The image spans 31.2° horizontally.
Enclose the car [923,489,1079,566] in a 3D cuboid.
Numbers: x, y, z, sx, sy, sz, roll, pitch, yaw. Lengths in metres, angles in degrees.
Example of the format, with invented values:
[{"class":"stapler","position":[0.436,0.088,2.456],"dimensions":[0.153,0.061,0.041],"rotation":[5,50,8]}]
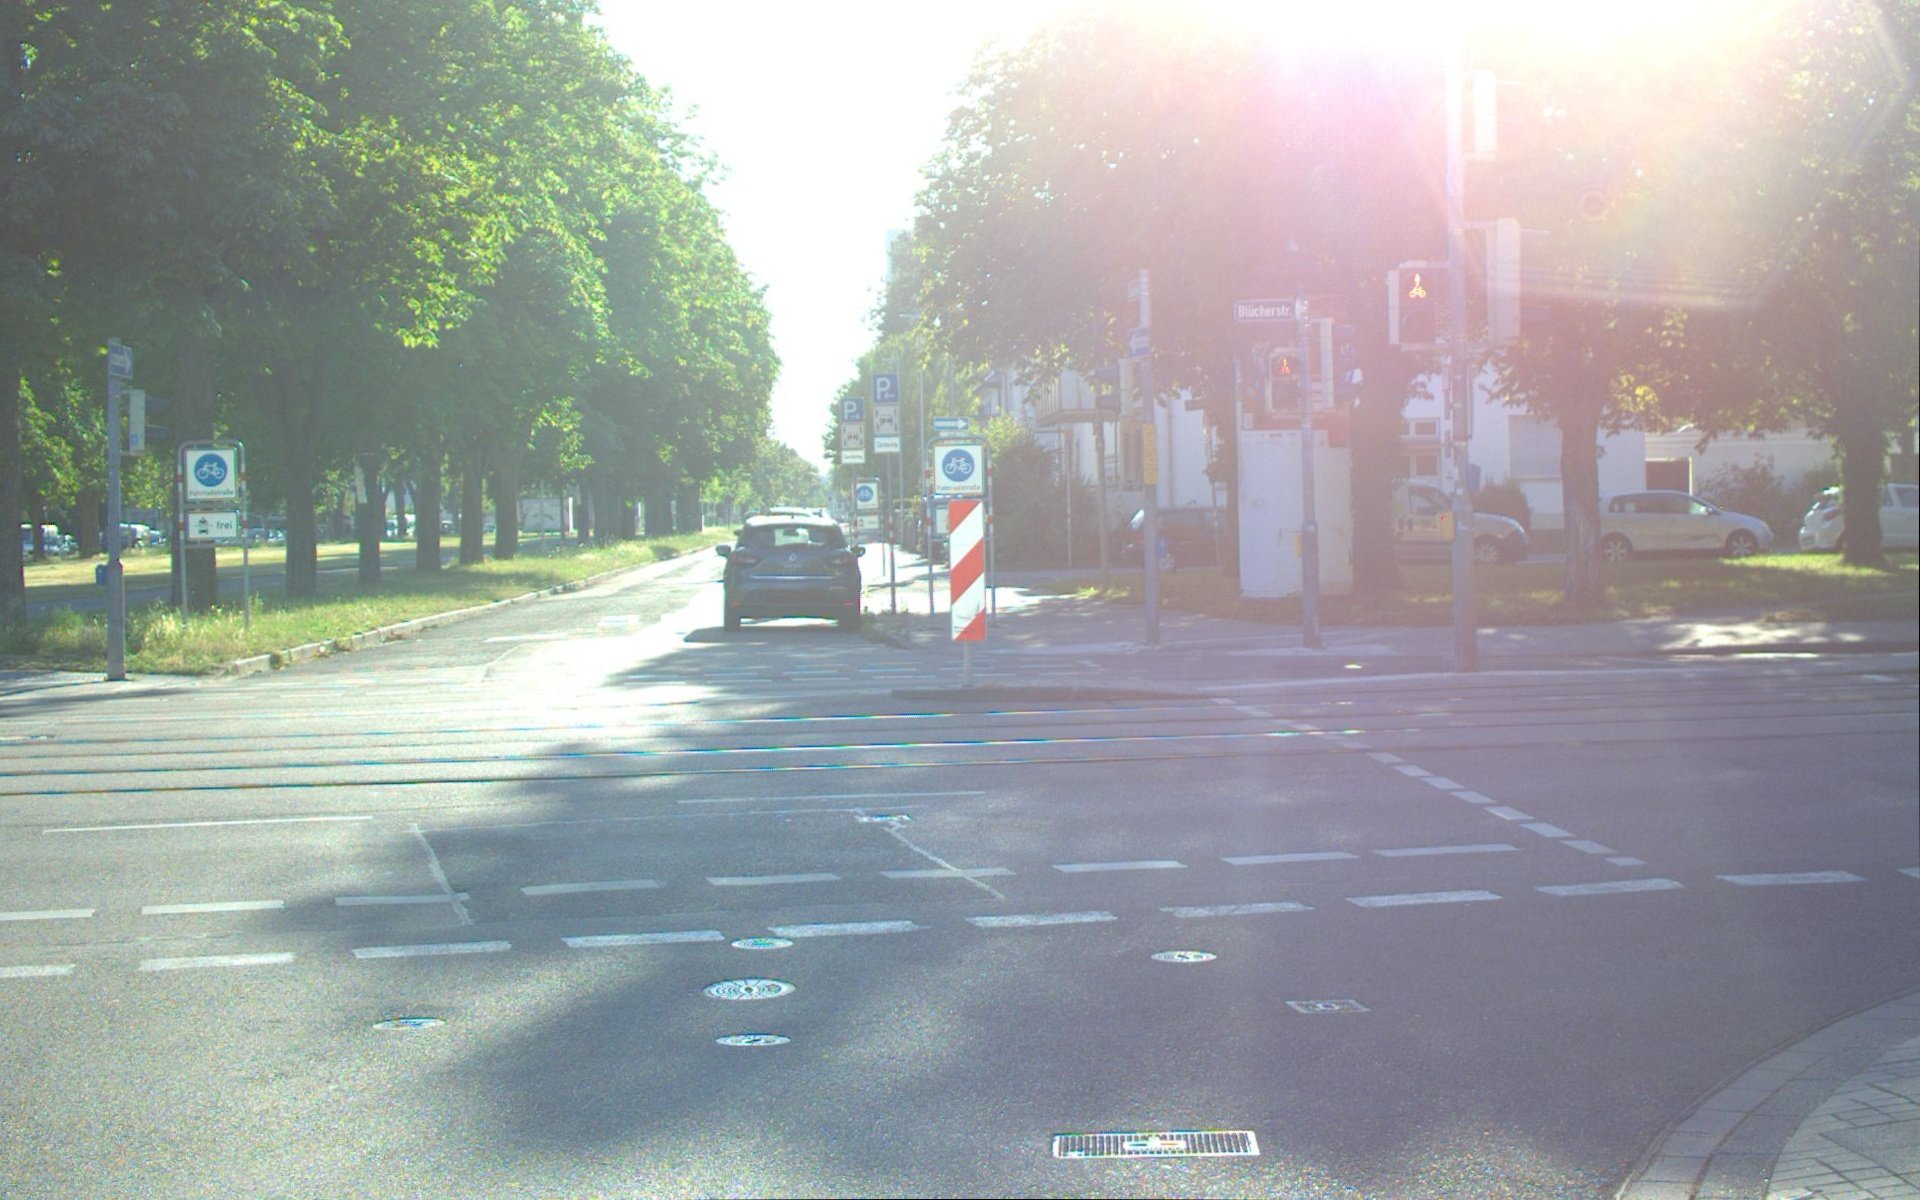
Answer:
[{"class":"car","position":[1.095,-1.972,93.573],"dimensions":[3.986,1.816,1.760],"rotation":[-2,-4,-6]}]

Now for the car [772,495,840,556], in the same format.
[{"class":"car","position":[-4.675,-2.263,103.727],"dimensions":[1.993,1.775,4.001],"rotation":[1,2,-3]}]

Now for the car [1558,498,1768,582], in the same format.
[{"class":"car","position":[13.342,-1.141,65.325],"dimensions":[3.552,1.510,1.606],"rotation":[-1,1,-8]}]

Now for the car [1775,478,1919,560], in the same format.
[{"class":"car","position":[17.796,-1.545,65.945],"dimensions":[3.920,1.518,1.524],"rotation":[0,0,-7]}]

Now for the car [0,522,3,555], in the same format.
[{"class":"car","position":[-49.680,-3.120,172.697],"dimensions":[1.993,1.653,4.355],"rotation":[1,1,-1]}]

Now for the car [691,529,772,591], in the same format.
[{"class":"car","position":[-5.173,-0.905,78.224],"dimensions":[1.709,1.355,4.203],"rotation":[1,1,-2]}]

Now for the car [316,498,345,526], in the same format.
[{"class":"car","position":[-46.444,-6.488,253.811],"dimensions":[1.654,1.932,3.568],"rotation":[1,-1,-3]}]

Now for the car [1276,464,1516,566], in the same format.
[{"class":"car","position":[8.272,-1.615,65.508],"dimensions":[4.241,1.868,2.031],"rotation":[-1,1,-2]}]

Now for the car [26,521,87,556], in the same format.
[{"class":"car","position":[-44.015,-2.987,167.535],"dimensions":[2.022,1.653,3.984],"rotation":[1,1,-2]}]

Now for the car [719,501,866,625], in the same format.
[{"class":"car","position":[-2.122,-0.481,44.550],"dimensions":[1.725,1.506,4.541],"rotation":[1,1,-1]}]

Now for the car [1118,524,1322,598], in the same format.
[{"class":"car","position":[5.329,-0.797,70.665],"dimensions":[3.986,1.442,1.716],"rotation":[-1,1,-2]}]

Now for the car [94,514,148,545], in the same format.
[{"class":"car","position":[-45.639,-3.854,187.125],"dimensions":[1.993,1.653,4.571],"rotation":[-1,2,-3]}]
